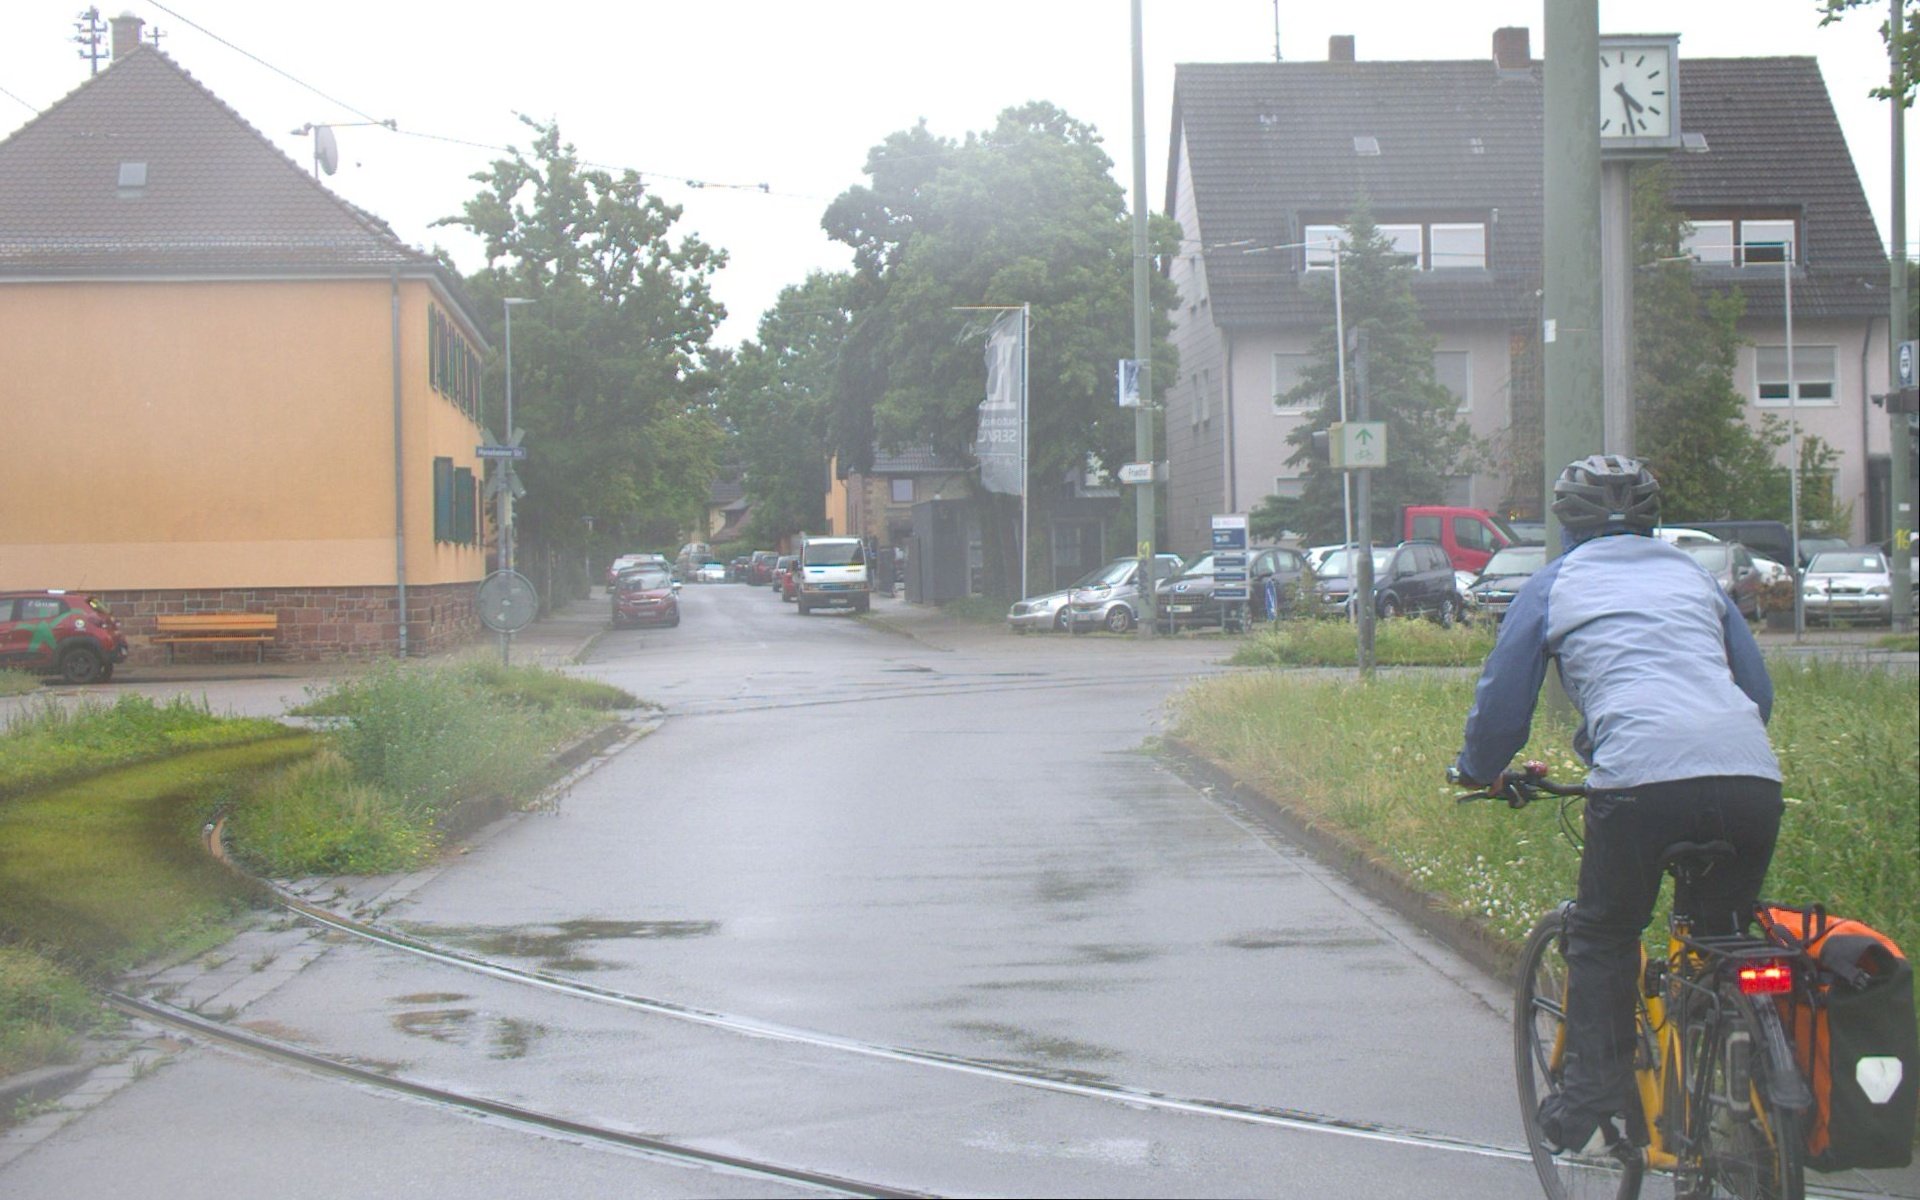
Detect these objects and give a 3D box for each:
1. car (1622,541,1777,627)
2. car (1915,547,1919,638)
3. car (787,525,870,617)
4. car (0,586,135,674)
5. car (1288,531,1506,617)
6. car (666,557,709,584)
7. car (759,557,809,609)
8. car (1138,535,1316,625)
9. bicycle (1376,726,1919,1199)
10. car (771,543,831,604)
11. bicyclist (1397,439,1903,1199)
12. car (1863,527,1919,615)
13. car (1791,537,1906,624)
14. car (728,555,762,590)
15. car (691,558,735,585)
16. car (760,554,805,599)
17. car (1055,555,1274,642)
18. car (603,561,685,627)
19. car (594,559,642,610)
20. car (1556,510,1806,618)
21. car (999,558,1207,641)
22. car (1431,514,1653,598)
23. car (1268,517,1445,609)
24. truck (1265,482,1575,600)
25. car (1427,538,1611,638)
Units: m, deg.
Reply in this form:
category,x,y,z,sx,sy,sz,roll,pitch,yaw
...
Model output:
category,x,y,z,sx,sy,sz,roll,pitch,yaw
car,13.540,-0.286,62.805,1.830,1.499,4.052,1,1,26
car,17.615,-0.090,55.938,3.631,1.499,1.723,1,0,-1
car,-3.835,-0.846,99.724,2.153,2.564,4.134,1,0,-5
car,-15.107,0.452,54.737,3.604,1.334,1.723,1,0,-5
car,8.673,-0.512,68.203,3.969,1.592,1.998,-1,0,18
car,-17.884,-1.925,225.594,1.828,1.691,4.033,1,1,-19
car,-7.072,-0.697,137.852,1.828,2.007,4.001,1,0,-5
car,5.039,-0.391,64.433,1.805,1.573,3.865,-1,1,30
bicycle,1.322,0.836,6.627,0.752,1.069,1.927,-2,1,0
car,-5.470,-0.910,118.258,1.993,2.007,4.000,1,0,-3
bicyclist,1.300,0.459,6.623,0.751,1.480,0.846,-2,0,0
car,20.198,-0.594,67.517,4.432,1.682,1.760,-1,0,0
car,16.186,-0.356,62.775,1.828,1.499,4.056,1,1,12
car,-12.635,-1.603,202.075,1.828,2.007,4.001,1,0,-5
car,-15.847,-1.836,220.239,1.828,1.691,4.033,1,1,-19
car,-8.096,-1.089,156.550,1.828,2.007,4.001,1,0,-5
car,4.033,-0.039,67.883,3.858,1.573,1.808,-2,1,-22
car,-8.009,-0.146,87.294,1.993,1.612,4.001,-1,0,-5
car,-13.827,-0.647,139.047,1.828,2.007,4.001,1,0,-5
car,14.105,-0.688,67.430,4.432,2.007,2.000,-1,0,0
car,2.966,-0.017,71.180,3.858,1.573,1.808,-2,1,-22
car,12.599,-0.942,74.590,4.432,1.682,2.000,-1,0,0
car,7.303,-0.695,63.042,1.805,1.573,3.865,-1,1,30
truck,9.528,-1.189,71.209,6.088,2.264,1.998,-1,0,17
car,10.223,-0.236,62.671,1.997,1.711,3.993,-1,0,30
